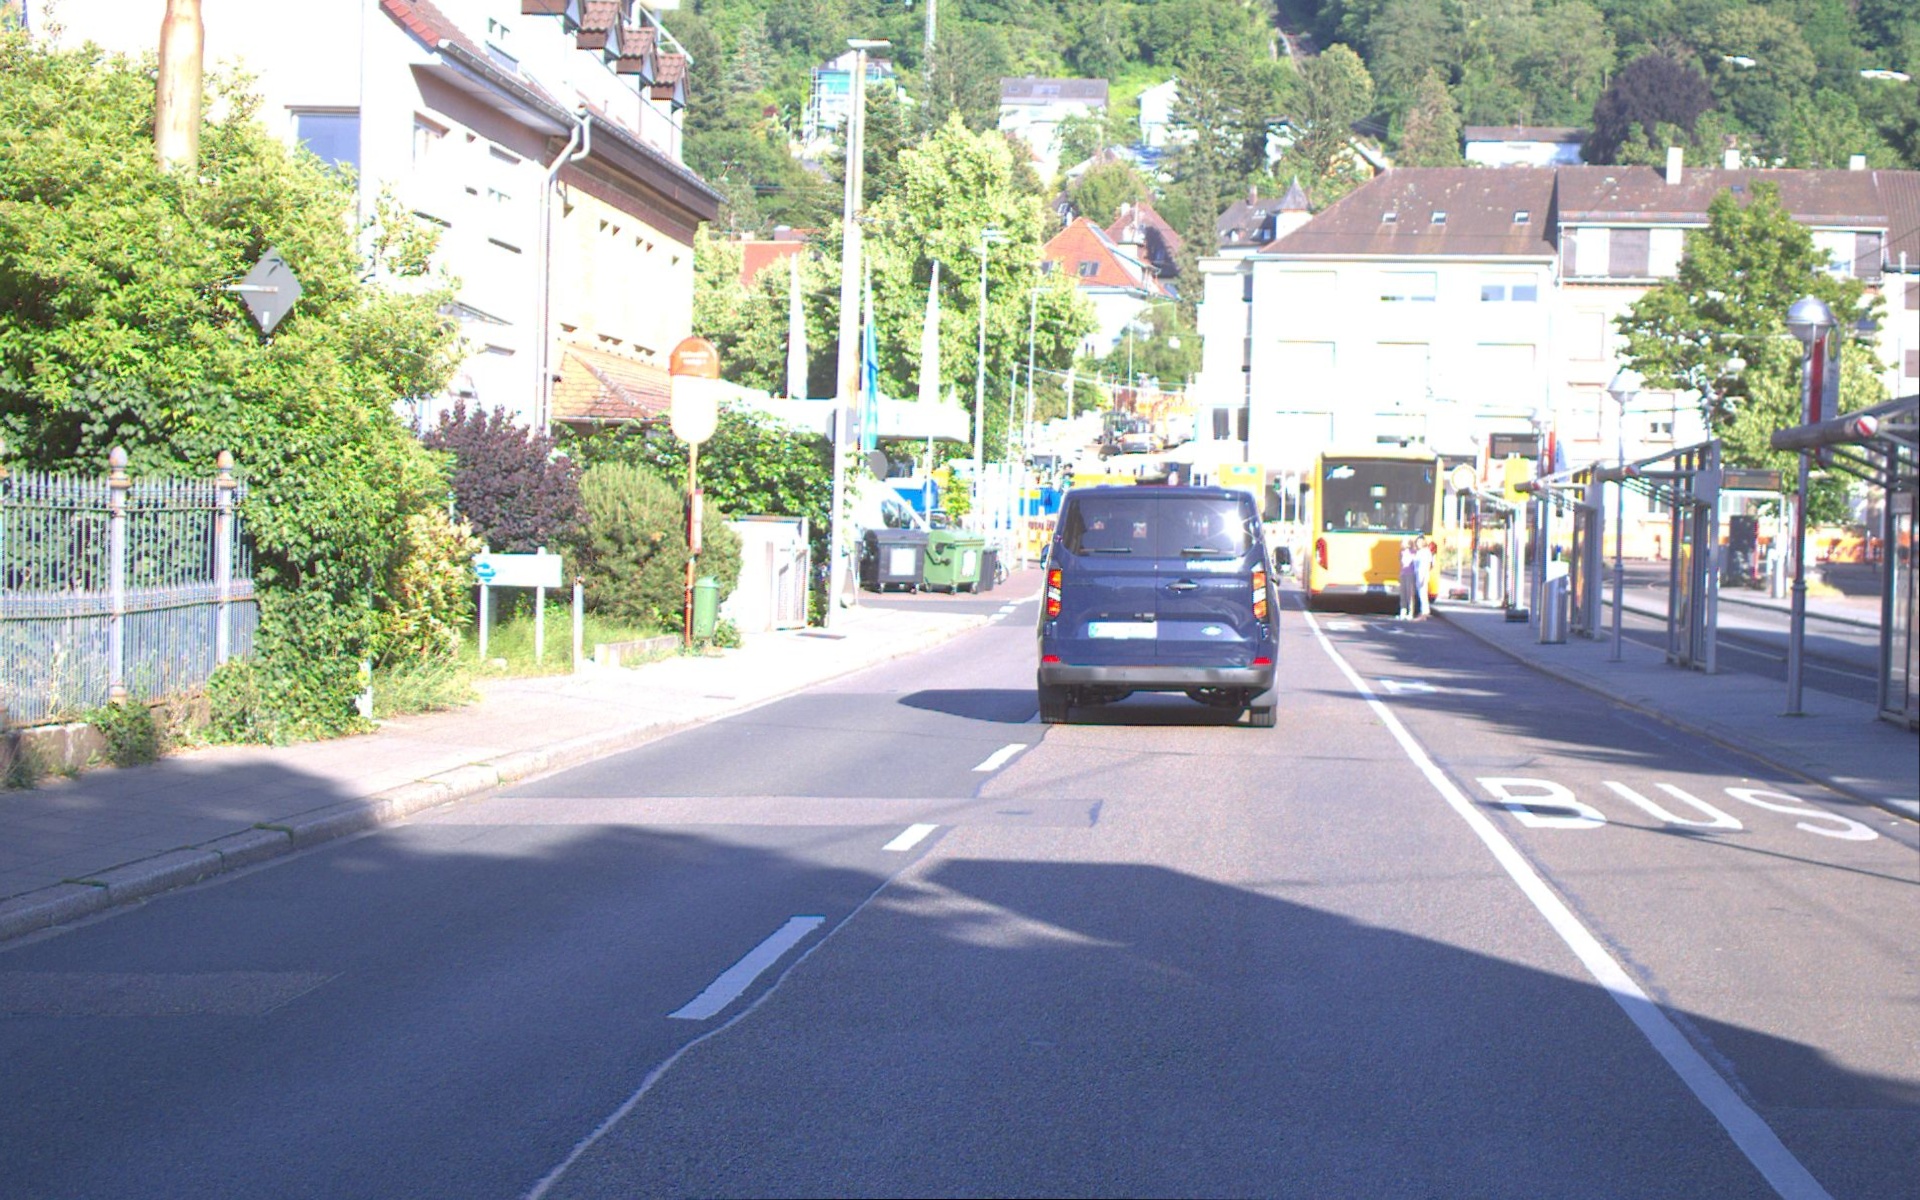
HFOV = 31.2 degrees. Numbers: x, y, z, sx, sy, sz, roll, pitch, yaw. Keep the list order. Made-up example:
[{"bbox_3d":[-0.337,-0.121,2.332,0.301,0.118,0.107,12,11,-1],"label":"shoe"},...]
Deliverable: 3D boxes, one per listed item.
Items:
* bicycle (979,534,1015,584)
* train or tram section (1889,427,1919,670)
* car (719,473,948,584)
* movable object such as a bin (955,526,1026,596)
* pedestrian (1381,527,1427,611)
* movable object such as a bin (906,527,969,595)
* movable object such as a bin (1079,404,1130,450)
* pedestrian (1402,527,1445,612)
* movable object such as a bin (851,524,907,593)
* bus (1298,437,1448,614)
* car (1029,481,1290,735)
[{"bbox_3d":[0.910,-1.022,85.013,0.723,1.174,1.781,1,2,-4],"label":"bicycle"},{"bbox_3d":[14.927,-0.672,43.988,2.958,3.522,15.967,1,1,5],"label":"train or tram section"},{"bbox_3d":[-3.053,-1.732,82.815,5.053,2.461,2.109,2,2,-17],"label":"car"},{"bbox_3d":[0.698,-0.895,78.583,1.057,1.477,1.310,4,6,33],"label":"movable object such as a bin"},{"bbox_3d":[8.585,-0.595,66.455,0.544,1.607,0.636,1,2,-32],"label":"pedestrian"},{"bbox_3d":[-0.518,-0.877,77.709,1.218,1.477,0.704,-1,5,-24],"label":"movable object such as a bin"},{"bbox_3d":[8.852,-10.544,210.252,2.192,2.681,3.997,2,2,16],"label":"movable object such as a bin"},{"bbox_3d":[8.912,-0.588,66.069,0.544,1.607,0.550,1,2,-32],"label":"pedestrian"},{"bbox_3d":[-1.825,-0.938,77.359,1.218,1.477,0.704,1,5,1],"label":"movable object such as a bin"},{"bbox_3d":[8.705,-1.649,73.574,2.689,3.404,12.017,2,2,5],"label":"bus"},{"bbox_3d":[1.781,0.013,29.773,2.062,2.007,4.999,0,1,5],"label":"car"}]
